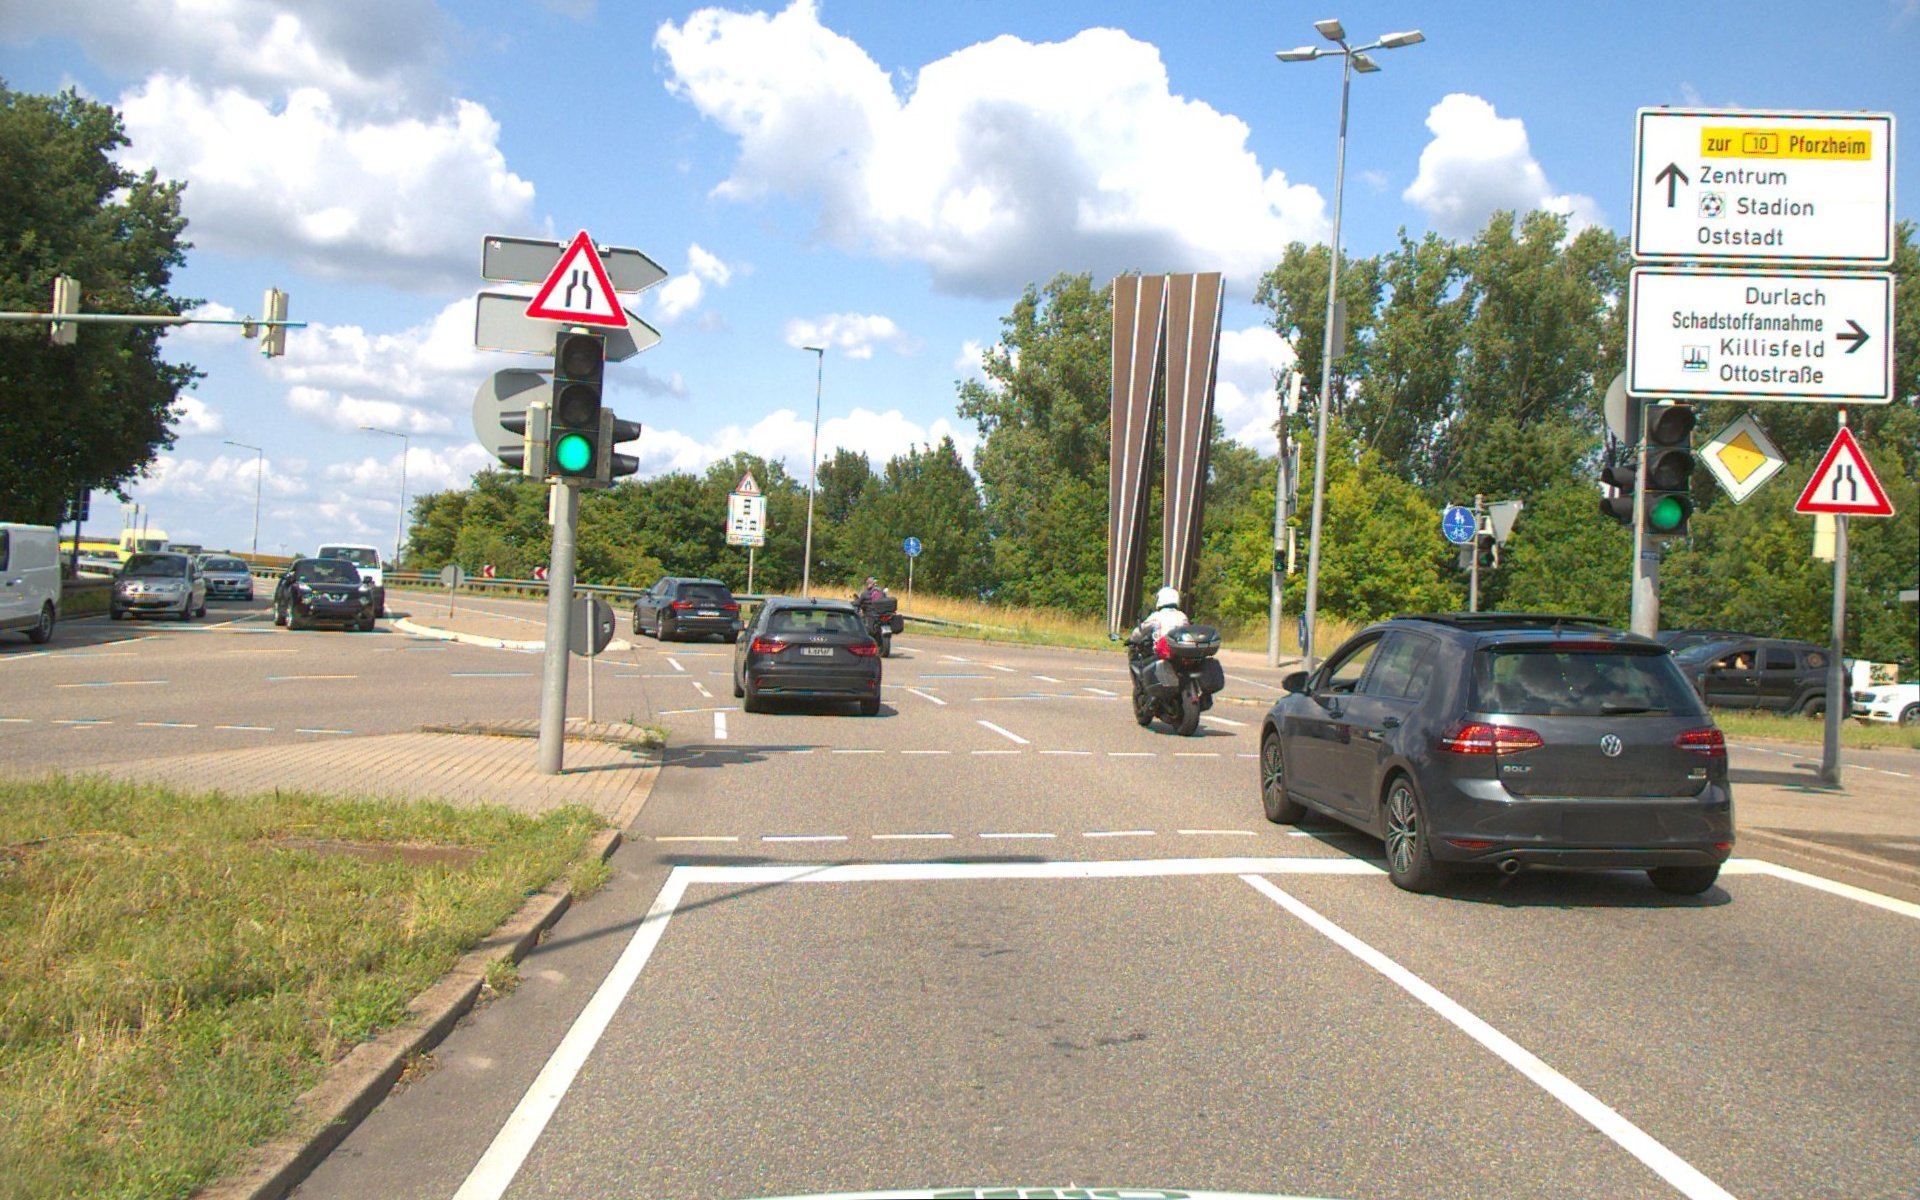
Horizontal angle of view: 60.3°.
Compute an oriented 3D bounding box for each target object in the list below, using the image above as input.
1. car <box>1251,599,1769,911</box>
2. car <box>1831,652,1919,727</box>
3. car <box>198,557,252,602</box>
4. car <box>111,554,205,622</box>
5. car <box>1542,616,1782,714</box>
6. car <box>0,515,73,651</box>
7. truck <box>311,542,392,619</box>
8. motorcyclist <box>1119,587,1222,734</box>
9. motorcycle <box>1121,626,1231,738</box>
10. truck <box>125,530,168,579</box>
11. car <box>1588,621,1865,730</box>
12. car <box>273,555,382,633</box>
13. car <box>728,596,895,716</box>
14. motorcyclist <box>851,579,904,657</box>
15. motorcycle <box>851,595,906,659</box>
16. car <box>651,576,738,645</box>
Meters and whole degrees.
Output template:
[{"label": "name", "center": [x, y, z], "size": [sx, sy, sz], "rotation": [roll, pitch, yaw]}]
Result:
[{"label": "car", "center": [3.087, 0.778, 10.148], "size": [1.610, 1.504, 3.868], "rotation": [2, 0, -4]}, {"label": "car", "center": [20.618, 1.951, 34.375], "size": [4.118, 1.399, 1.646], "rotation": [4, 1, -1]}, {"label": "car", "center": [-25.958, -0.732, 58.349], "size": [1.661, 1.504, 4.676], "rotation": [0, 1, -25]}, {"label": "car", "center": [-19.235, -0.297, 39.798], "size": [1.708, 1.547, 4.042], "rotation": [0, 1, -21]}, {"label": "car", "center": [14.542, 1.327, 34.407], "size": [4.118, 1.674, 1.837], "rotation": [4, 0, -1]}, {"label": "car", "center": [-15.725, -0.272, 25.962], "size": [1.960, 2.049, 5.116], "rotation": [0, 0, -14]}, {"label": "truck", "center": [-17.001, -0.565, 46.084], "size": [1.933, 1.946, 5.335], "rotation": [2, 1, -22]}, {"label": "motorcyclist", "center": [2.473, 0.694, 19.537], "size": [0.947, 1.648, 1.124], "rotation": [3, 0, -4]}, {"label": "motorcycle", "center": [2.490, 0.918, 19.362], "size": [0.773, 1.151, 2.397], "rotation": [2, 0, -4]}, {"label": "truck", "center": [-45.994, -2.564, 93.440], "size": [1.971, 2.666, 6.047], "rotation": [0, 2, -28]}, {"label": "car", "center": [14.048, 1.362, 30.466], "size": [4.195, 1.645, 1.844], "rotation": [4, -1, -1]}, {"label": "car", "center": [-14.212, -0.160, 37.038], "size": [1.680, 1.584, 3.784], "rotation": [2, 1, -30]}, {"label": "car", "center": [-2.026, 0.675, 21.661], "size": [1.653, 1.412, 3.726], "rotation": [1, 0, -13]}, {"label": "motorcyclist", "center": [-1.795, 0.388, 35.834], "size": [0.948, 1.624, 1.122], "rotation": [3, 0, -9]}, {"label": "motorcycle", "center": [-1.786, 0.562, 35.768], "size": [0.871, 1.269, 2.394], "rotation": [2, 0, -10]}, {"label": "car", "center": [-6.370, 0.228, 39.396], "size": [1.615, 1.504, 3.857], "rotation": [2, 0, -15]}]
